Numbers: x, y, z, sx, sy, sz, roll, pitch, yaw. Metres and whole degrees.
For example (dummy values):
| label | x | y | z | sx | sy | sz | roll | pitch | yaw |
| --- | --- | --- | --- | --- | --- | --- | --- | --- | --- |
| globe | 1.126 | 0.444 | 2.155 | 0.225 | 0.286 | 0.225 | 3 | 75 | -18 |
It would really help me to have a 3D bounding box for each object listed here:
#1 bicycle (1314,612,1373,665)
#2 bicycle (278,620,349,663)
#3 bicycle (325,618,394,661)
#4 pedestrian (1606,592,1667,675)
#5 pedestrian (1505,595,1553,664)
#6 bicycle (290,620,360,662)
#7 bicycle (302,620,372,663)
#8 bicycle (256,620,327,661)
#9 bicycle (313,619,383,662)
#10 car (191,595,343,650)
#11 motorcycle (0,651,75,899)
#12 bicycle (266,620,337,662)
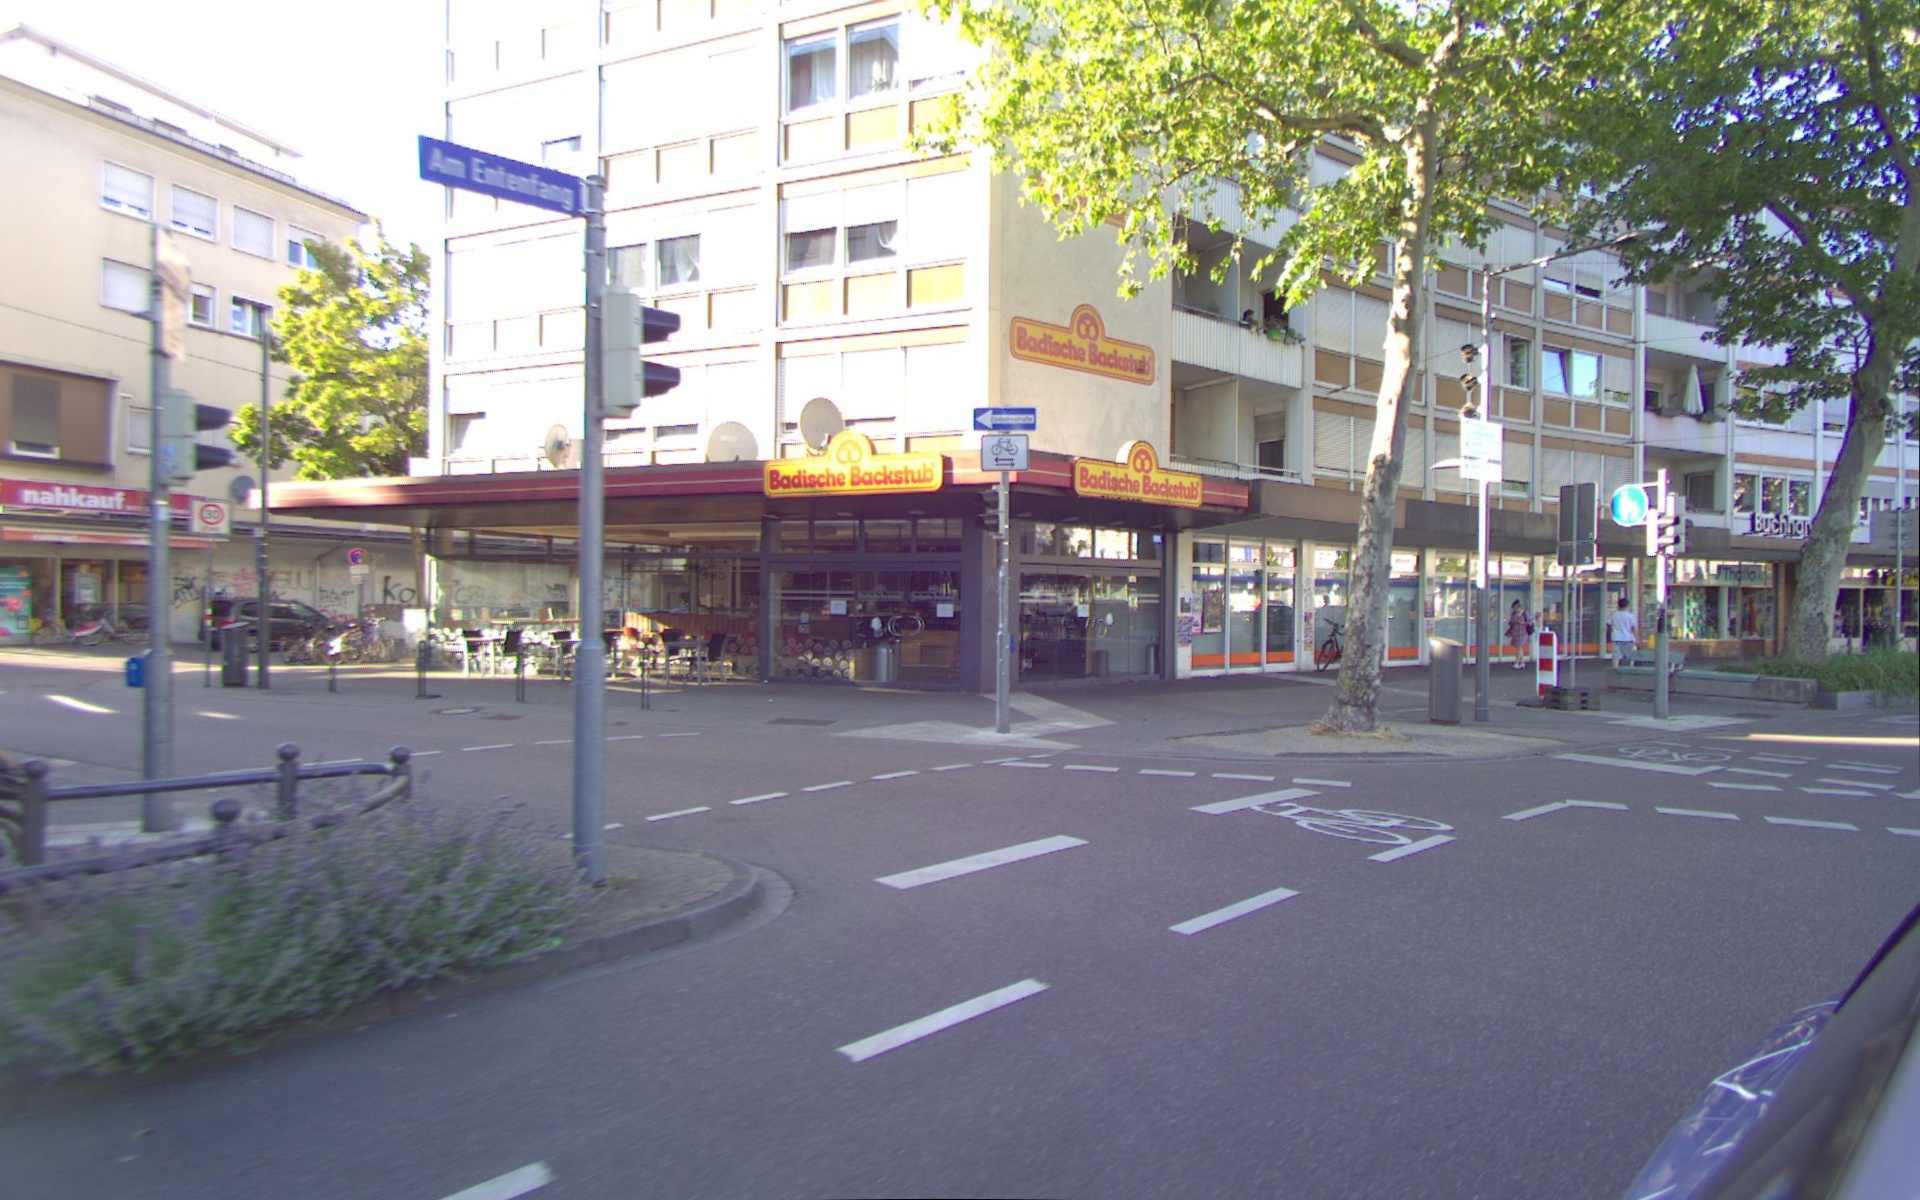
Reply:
| label | x | y | z | sx | sy | sz | roll | pitch | yaw |
| --- | --- | --- | --- | --- | --- | --- | --- | --- | --- |
| bicycle | 8.432 | 0.822 | 22.255 | 1.434 | 1.106 | 0.439 | 0 | 2 | -34 |
| bicycle | -16.170 | 1.023 | 25.356 | 0.352 | 0.994 | 1.596 | -1 | 0 | 21 |
| bicycle | -14.660 | 0.953 | 24.751 | 0.352 | 0.994 | 1.596 | -1 | 0 | 21 |
| pedestrian | 14.643 | 0.710 | 21.911 | 0.779 | 1.734 | 0.837 | 1 | 1 | -39 |
| pedestrian | 13.491 | 0.683 | 24.002 | 0.791 | 1.571 | 0.642 | 0 | 1 | -28 |
| bicycle | -15.800 | 1.009 | 25.213 | 0.352 | 0.994 | 1.596 | -1 | 0 | 21 |
| bicycle | -15.409 | 1.005 | 25.064 | 0.352 | 0.994 | 1.596 | -1 | 0 | 21 |
| bicycle | -16.923 | 1.013 | 25.656 | 0.352 | 0.994 | 1.596 | -1 | 0 | 21 |
| bicycle | -15.027 | 0.988 | 24.894 | 0.352 | 0.994 | 1.596 | -1 | 0 | 21 |
| car | -21.965 | 0.667 | 32.208 | 1.641 | 1.608 | 3.700 | 0 | 0 | 25 |
| motorcycle | -5.292 | 0.859 | 4.876 | 1.430 | 1.173 | 0.572 | 0 | -2 | -25 |
| bicycle | -16.568 | 1.021 | 25.498 | 0.352 | 0.994 | 1.596 | -1 | 0 | 21 |
